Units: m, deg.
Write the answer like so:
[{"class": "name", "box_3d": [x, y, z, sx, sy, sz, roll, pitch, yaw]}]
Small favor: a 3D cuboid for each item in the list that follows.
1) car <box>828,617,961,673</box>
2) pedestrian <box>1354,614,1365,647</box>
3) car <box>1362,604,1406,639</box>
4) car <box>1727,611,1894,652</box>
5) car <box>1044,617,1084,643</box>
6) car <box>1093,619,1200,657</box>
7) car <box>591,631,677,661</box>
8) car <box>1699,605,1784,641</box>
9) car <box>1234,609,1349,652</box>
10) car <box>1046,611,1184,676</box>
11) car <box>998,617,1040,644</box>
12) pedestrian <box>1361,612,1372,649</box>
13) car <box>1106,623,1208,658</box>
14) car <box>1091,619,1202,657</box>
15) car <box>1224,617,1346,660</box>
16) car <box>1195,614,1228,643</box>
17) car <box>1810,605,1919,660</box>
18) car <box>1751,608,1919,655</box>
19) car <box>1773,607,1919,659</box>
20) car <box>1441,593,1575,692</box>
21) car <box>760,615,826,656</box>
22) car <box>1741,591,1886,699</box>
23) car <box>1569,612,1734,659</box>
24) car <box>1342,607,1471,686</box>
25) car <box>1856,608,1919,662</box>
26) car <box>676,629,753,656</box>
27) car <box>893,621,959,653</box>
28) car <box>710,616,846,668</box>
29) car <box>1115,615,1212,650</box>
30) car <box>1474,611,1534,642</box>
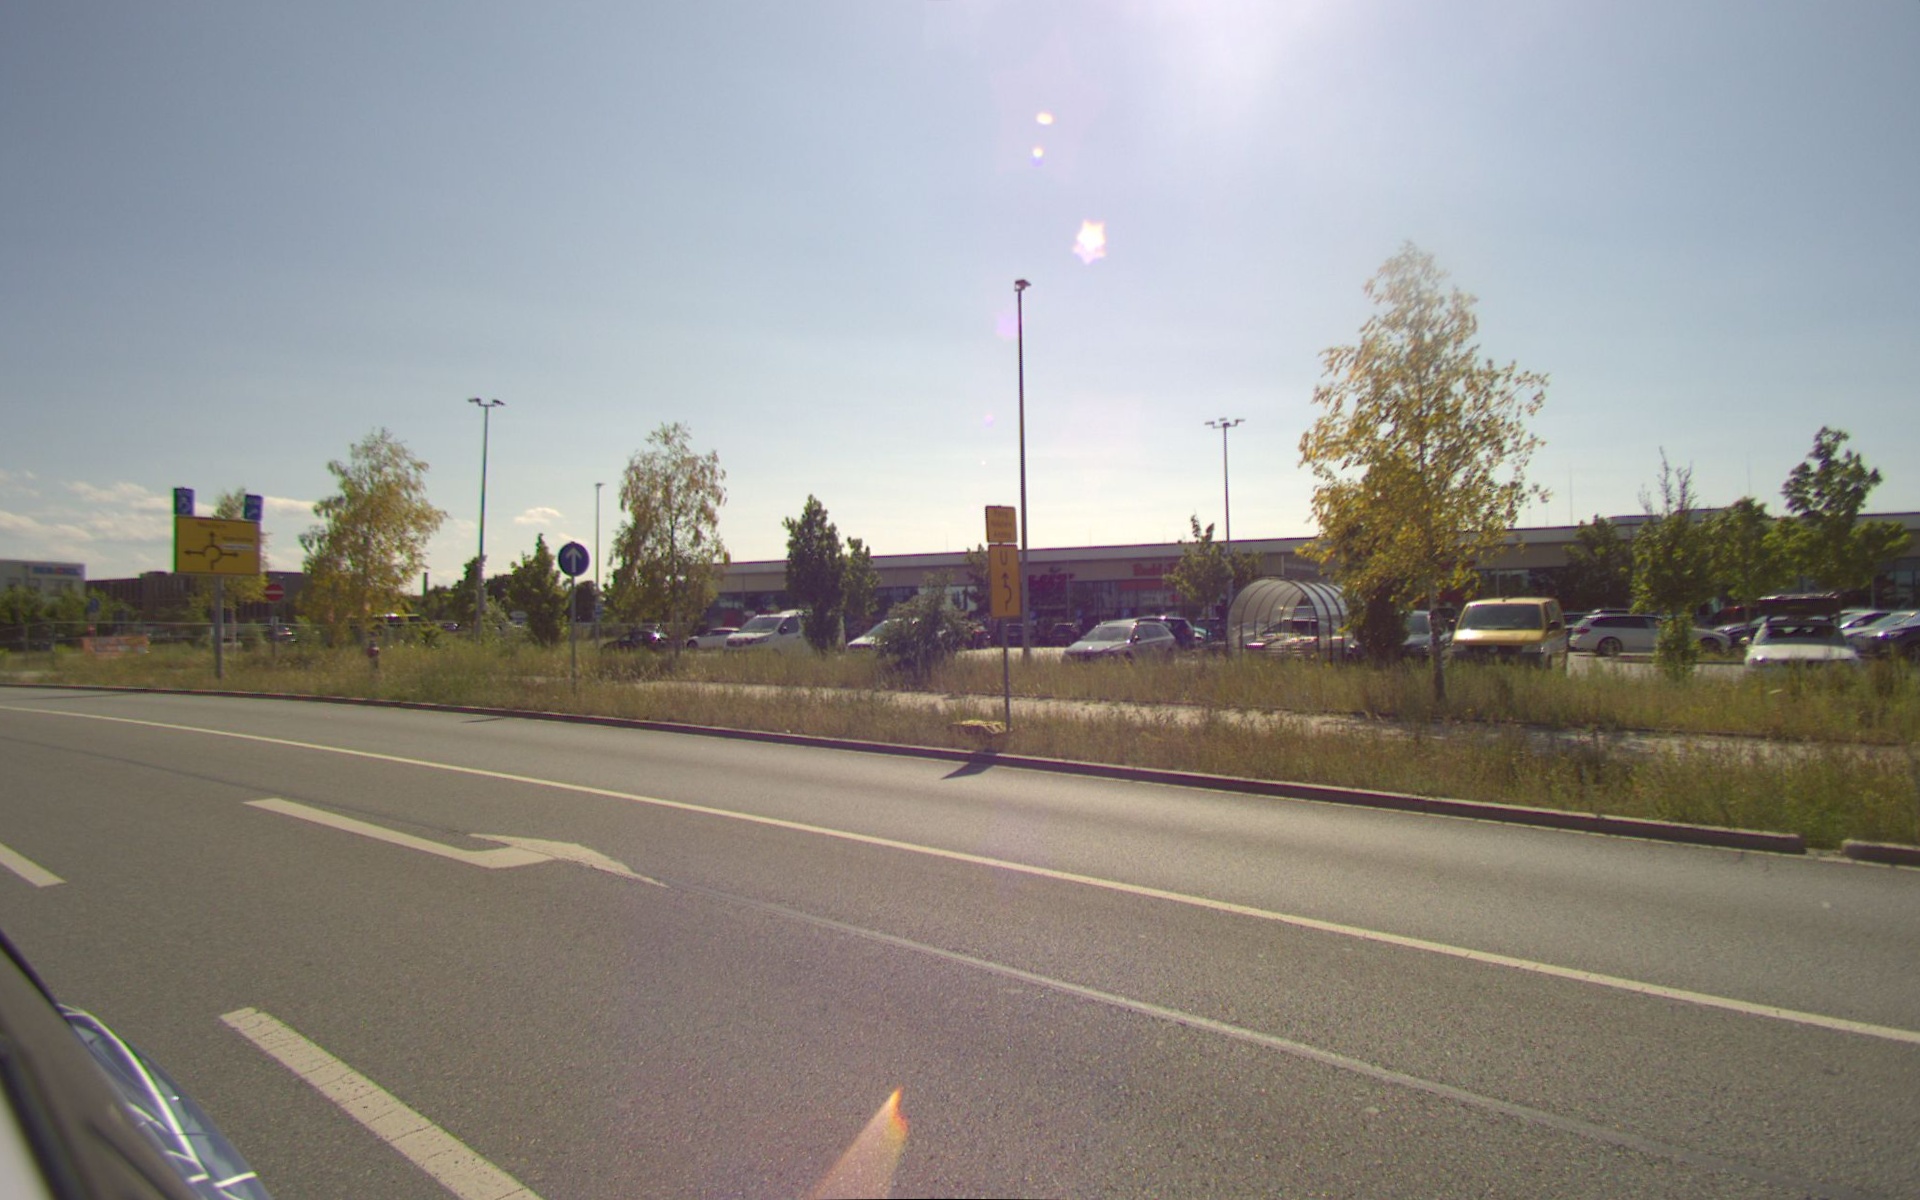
[{"class": "car", "box_3d": [-2.031, 1.401, 32.841, 1.994, 1.685, 4.552, -2, -2, 33]}, {"class": "pedestrian", "box_3d": [17.164, 1.310, 43.518, 0.411, 1.406, 0.506, -1, -2, 23]}, {"class": "car", "box_3d": [23.392, 1.206, 55.952, 1.702, 1.821, 4.332, -1, -2, 16]}, {"class": "car", "box_3d": [31.141, 1.172, 37.207, 4.323, 1.428, 1.705, -1, -2, 21]}, {"class": "car", "box_3d": [6.367, 1.822, 61.463, 1.702, 1.531, 4.332, -1, -2, 16]}, {"class": "car", "box_3d": [7.884, 1.618, 42.873, 4.211, 1.528, 1.705, -1, -2, 22]}, {"class": "car", "box_3d": [-19.317, 2.704, 59.997, 4.381, 1.701, 2.271, -1, -1, 16]}, {"class": "car", "box_3d": [38.087, 1.137, 49.452, 1.702, 1.646, 4.332, -1, -2, 16]}, {"class": "car", "box_3d": [14.248, 1.316, 43.559, 4.555, 1.754, 1.703, -1, -2, 24]}, {"class": "car", "box_3d": [4.457, 1.174, 28.481, 1.995, 1.685, 4.661, -2, -2, 35]}, {"class": "car", "box_3d": [3.642, 1.844, 61.841, 1.702, 1.576, 4.332, -1, -2, 16]}, {"class": "pedestrian", "box_3d": [16.760, 1.256, 41.712, 0.411, 1.475, 0.506, -1, -2, 23]}, {"class": "car", "box_3d": [8.820, 1.821, 45.305, 4.211, 1.528, 1.705, -1, -2, 22]}, {"class": "car", "box_3d": [7.420, 1.512, 40.274, 4.112, 1.436, 1.705, -1, -2, 22]}, {"class": "car", "box_3d": [12.361, 1.467, 38.556, 4.321, 1.538, 1.706, -1, -2, 20]}, {"class": "car", "box_3d": [14.467, 1.643, 58.144, 1.702, 1.561, 4.332, -1, -2, 16]}, {"class": "car", "box_3d": [27.980, 0.938, 29.627, 4.323, 1.561, 1.705, -1, -2, 21]}, {"class": "car", "box_3d": [30.142, 1.088, 34.751, 4.323, 1.544, 1.705, -1, -2, 21]}, {"class": "car", "box_3d": [28.894, 1.054, 32.219, 4.323, 1.584, 1.705, -1, -2, 21]}, {"class": "car", "box_3d": [12.633, 0.918, 23.139, 1.996, 1.980, 5.631, -2, -2, 35]}, {"class": "car", "box_3d": [-11.180, 2.369, 68.223, 1.925, 2.607, 5.683, -1, -2, 19]}, {"class": "car", "box_3d": [16.506, 0.826, 19.674, 1.931, 1.875, 4.102, -2, -2, 39]}, {"class": "car", "box_3d": [23.456, 1.224, 34.539, 4.327, 1.538, 1.704, -1, -2, 24]}, {"class": "car", "box_3d": [10.712, 1.059, 24.097, 1.878, 1.685, 4.726, -2, -2, 35]}, {"class": "car", "box_3d": [27.145, 0.908, 27.088, 4.323, 1.428, 1.705, -1, -2, 21]}, {"class": "car", "box_3d": [-15.763, 2.719, 65.048, 4.543, 1.701, 1.962, -1, -1, 21]}, {"class": "car", "box_3d": [-1.643, 1.819, 50.380, 1.832, 1.564, 3.970, -1, -2, 22]}, {"class": "car", "box_3d": [-6.289, 1.434, 35.669, 1.991, 1.685, 5.147, -2, -2, 28]}, {"class": "car", "box_3d": [9.703, 1.544, 48.240, 4.324, 1.599, 1.705, -1, -2, 22]}, {"class": "car", "box_3d": [28.307, 1.378, 52.797, 1.818, 1.536, 4.332, -1, -2, 16]}]
